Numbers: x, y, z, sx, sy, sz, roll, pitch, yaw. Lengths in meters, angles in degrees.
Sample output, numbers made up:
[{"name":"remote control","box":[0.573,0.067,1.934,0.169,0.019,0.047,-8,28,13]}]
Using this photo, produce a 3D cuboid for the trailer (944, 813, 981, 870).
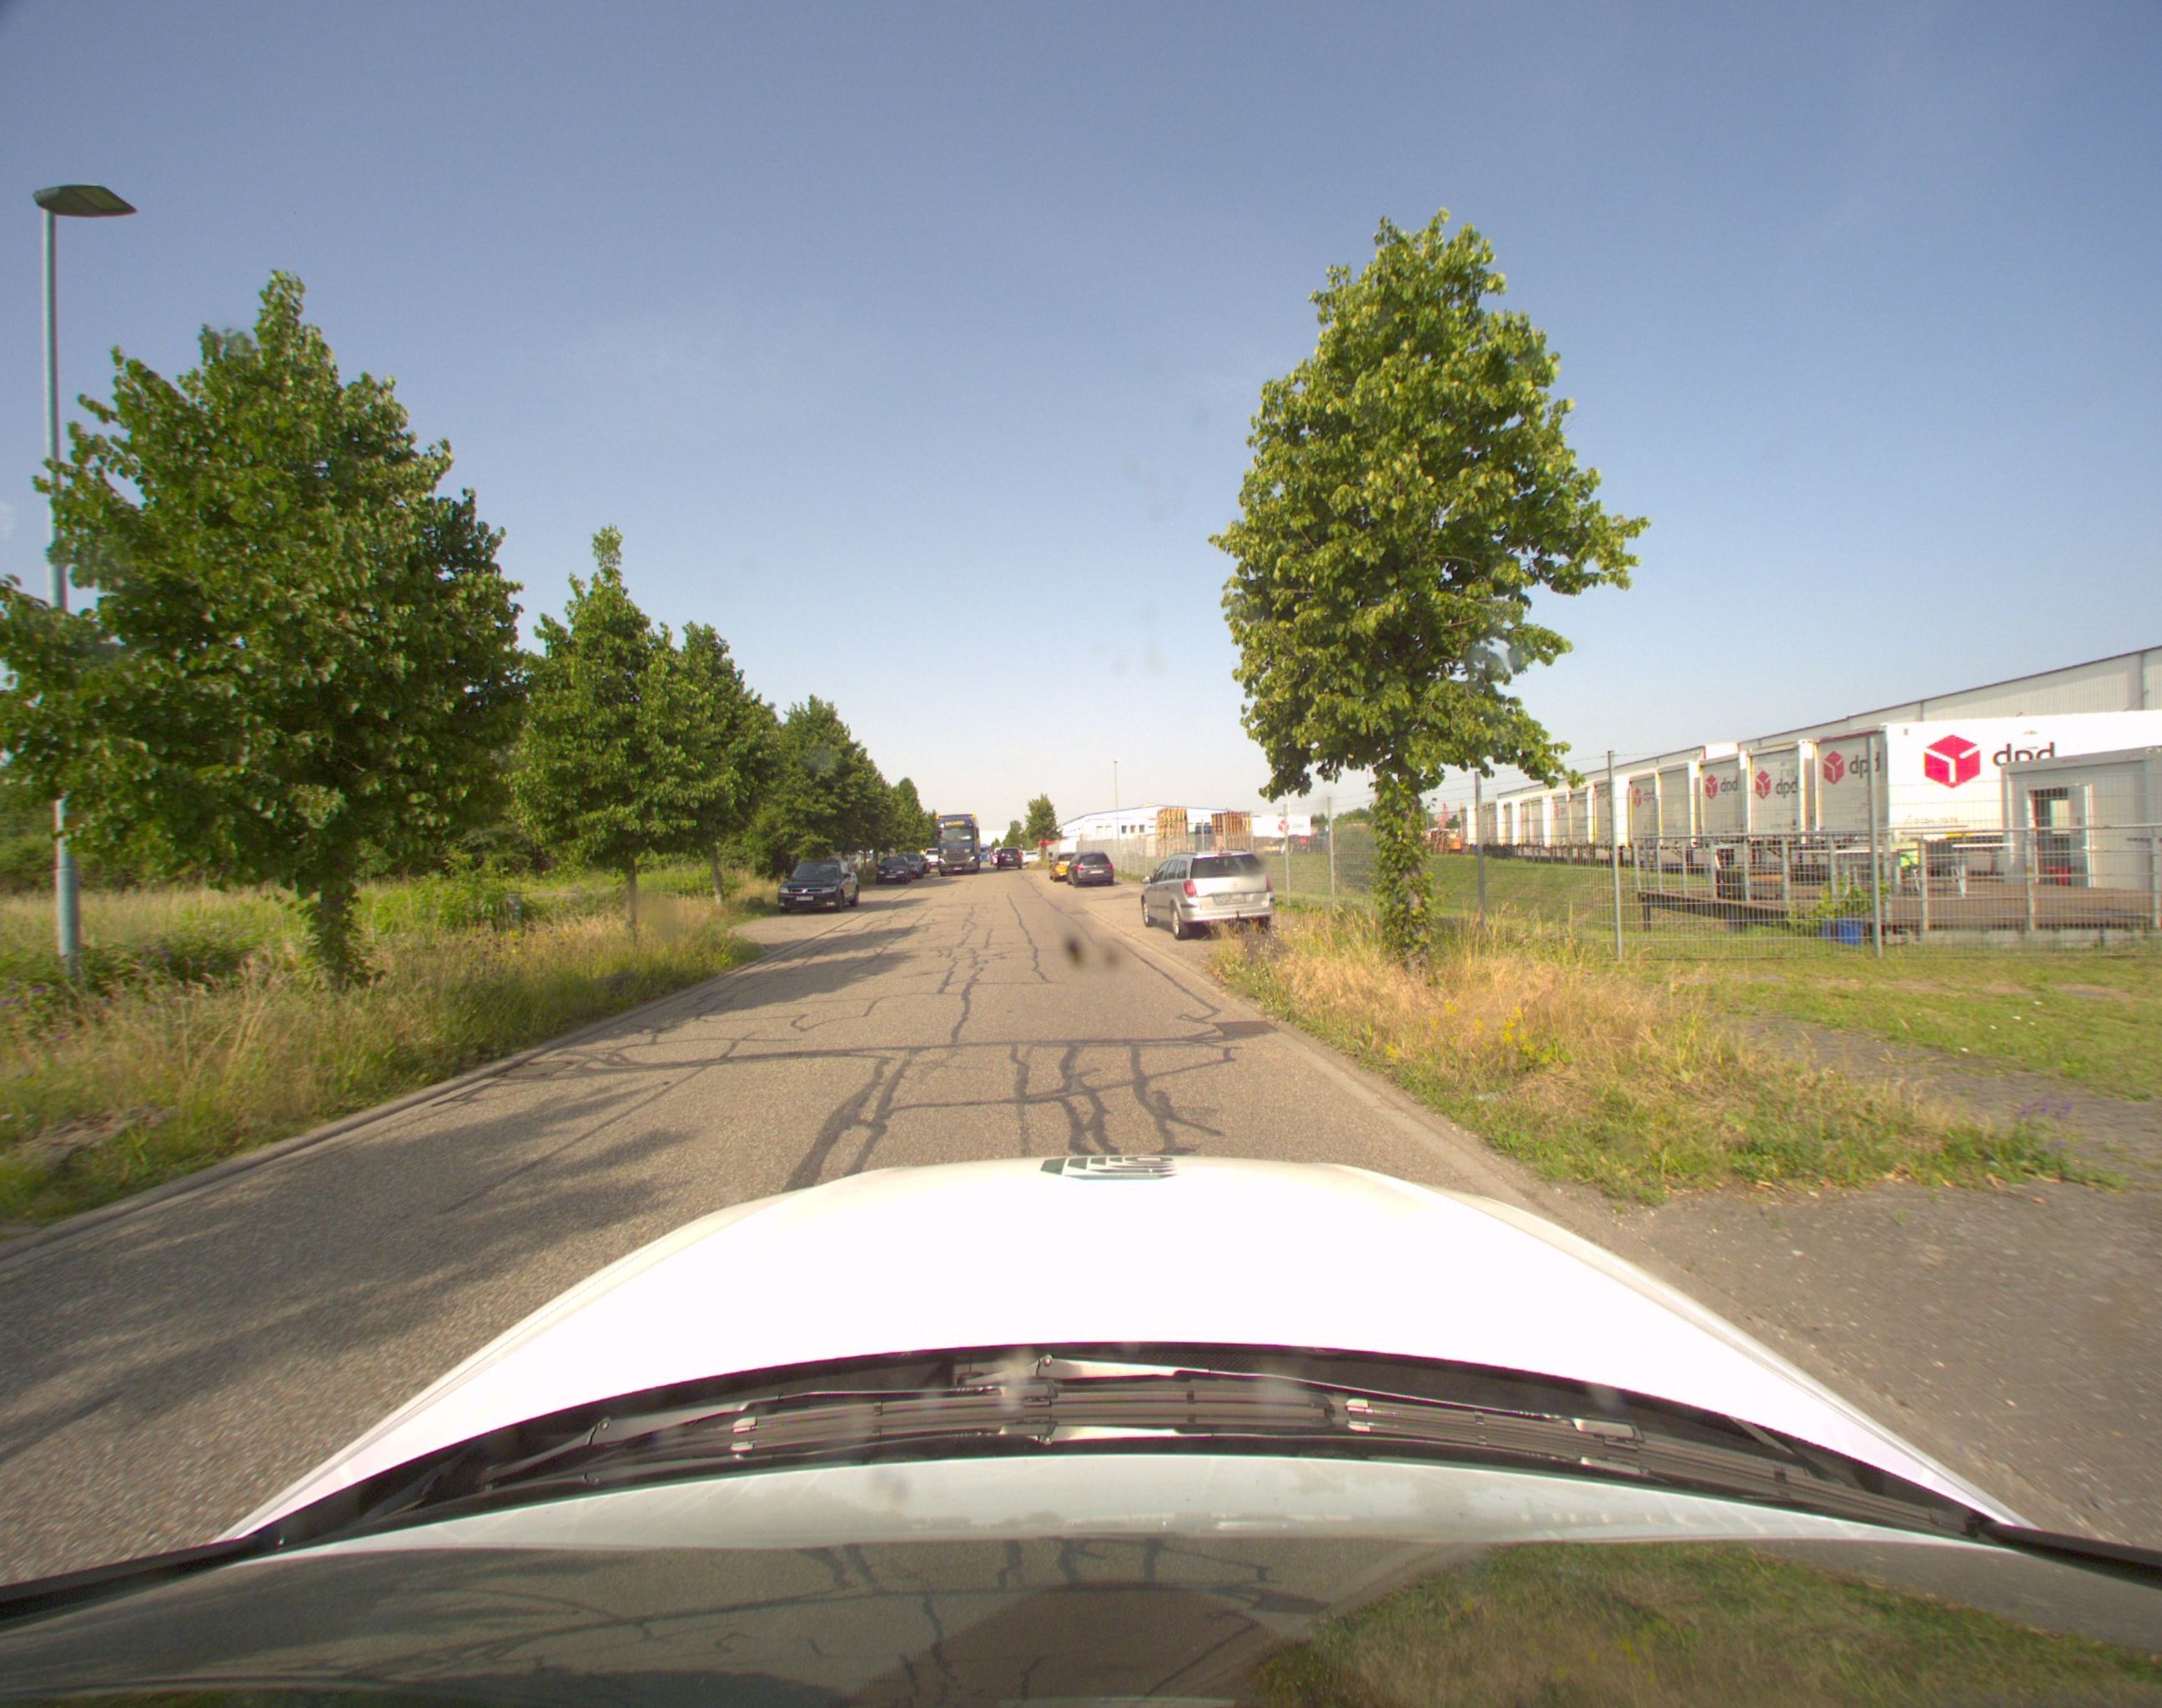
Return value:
[{"name":"trailer","box":[-9.539,-0.982,66.220,2.496,4.145,8.478,-4,1,-6]}]

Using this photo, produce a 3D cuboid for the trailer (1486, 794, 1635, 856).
[{"name":"trailer","box":[31.019,-1.856,53.020,7.909,3.893,2.786,0,1,12]}]

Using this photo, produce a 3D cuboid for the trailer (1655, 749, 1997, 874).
[{"name":"trailer","box":[24.766,-1.367,27.598,8.251,3.893,2.786,0,1,12]}]

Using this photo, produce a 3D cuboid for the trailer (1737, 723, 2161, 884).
[{"name":"trailer","box":[23.167,-1.265,21.727,8.478,3.893,2.786,0,1,12]}]

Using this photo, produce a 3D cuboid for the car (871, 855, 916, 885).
[{"name":"car","box":[-10.024,0.802,43.765,1.830,1.496,4.042,0,0,-5]}]

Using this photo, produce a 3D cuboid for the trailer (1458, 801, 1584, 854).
[{"name":"trailer","box":[33.185,-1.968,61.742,7.909,3.893,2.752,0,1,12]}]

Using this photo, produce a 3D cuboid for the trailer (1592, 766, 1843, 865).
[{"name":"trailer","box":[26.512,-1.571,34.345,7.909,3.893,2.786,0,1,12]}]

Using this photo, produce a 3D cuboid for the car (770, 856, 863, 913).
[{"name":"car","box":[-8.357,0.900,26.149,1.900,1.626,4.441,0,0,-5]}]

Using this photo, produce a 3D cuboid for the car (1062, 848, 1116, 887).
[{"name":"car","box":[0.291,0.545,35.738,1.714,1.515,3.993,-4,1,-8]}]

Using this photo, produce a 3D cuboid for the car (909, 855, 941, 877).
[{"name":"car","box":[-11.189,0.848,58.716,1.830,1.496,4.042,0,0,-5]}]

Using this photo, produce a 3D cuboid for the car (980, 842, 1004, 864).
[{"name":"car","box":[-9.079,-0.085,83.016,2.117,2.110,4.618,-2,0,-4]}]

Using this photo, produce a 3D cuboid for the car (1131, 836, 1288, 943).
[{"name":"car","box":[2.257,0.565,15.585,1.797,1.626,4.439,-4,1,-6]}]

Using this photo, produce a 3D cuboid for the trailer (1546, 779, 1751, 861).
[{"name":"trailer","box":[27.907,-1.651,40.440,7.909,3.893,2.786,0,1,12]}]

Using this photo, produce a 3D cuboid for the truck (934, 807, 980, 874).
[{"name":"truck","box":[-8.493,-0.906,56.849,2.496,4.145,10.355,-4,1,-6]}]

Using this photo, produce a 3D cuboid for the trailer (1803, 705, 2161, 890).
[{"name":"trailer","box":[22.376,-1.230,18.645,8.478,3.893,2.786,0,1,12]}]

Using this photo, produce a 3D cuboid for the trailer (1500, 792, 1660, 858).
[{"name":"trailer","box":[30.505,-1.769,50.126,7.909,3.893,2.786,0,1,12]}]

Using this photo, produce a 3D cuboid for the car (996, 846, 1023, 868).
[{"name":"car","box":[-5.444,0.207,62.252,1.876,1.586,4.108,-2,0,-3]}]

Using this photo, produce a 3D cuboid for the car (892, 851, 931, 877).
[{"name":"car","box":[-10.359,0.607,50.010,1.830,1.496,4.042,0,0,-5]}]

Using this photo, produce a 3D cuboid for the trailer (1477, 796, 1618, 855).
[{"name":"trailer","box":[31.897,-1.946,56.009,7.909,3.893,2.786,0,1,12]}]

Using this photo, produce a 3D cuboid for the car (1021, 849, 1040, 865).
[{"name":"car","box":[-5.383,0.300,86.798,1.713,1.680,3.940,-2,0,-7]}]

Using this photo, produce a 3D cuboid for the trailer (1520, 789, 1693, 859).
[{"name":"trailer","box":[30.036,-1.697,46.942,7.909,3.893,2.786,0,1,12]}]

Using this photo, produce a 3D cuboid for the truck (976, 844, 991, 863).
[{"name":"truck","box":[-20.367,-0.154,170.302,2.877,3.760,6.067,-2,0,-8]}]

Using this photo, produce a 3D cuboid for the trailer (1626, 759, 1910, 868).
[{"name":"trailer","box":[26.067,-1.499,31.378,7.979,3.893,2.786,0,1,12]}]

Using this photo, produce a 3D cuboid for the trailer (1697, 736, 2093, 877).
[{"name":"trailer","box":[24.057,-1.357,24.605,8.251,3.893,2.786,0,1,12]}]

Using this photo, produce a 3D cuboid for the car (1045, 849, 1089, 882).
[{"name":"car","box":[-0.758,0.530,41.307,1.713,1.455,4.177,-4,1,-7]}]

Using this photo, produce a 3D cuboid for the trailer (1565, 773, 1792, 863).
[{"name":"trailer","box":[27.079,-1.598,37.322,7.909,3.893,2.786,0,1,12]}]

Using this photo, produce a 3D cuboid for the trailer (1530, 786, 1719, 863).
[{"name":"trailer","box":[28.679,-1.566,43.394,7.909,3.893,2.786,0,1,12]}]

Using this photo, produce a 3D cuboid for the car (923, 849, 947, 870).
[{"name":"car","box":[-13.068,0.462,73.054,1.830,1.762,4.042,0,0,-5]}]
